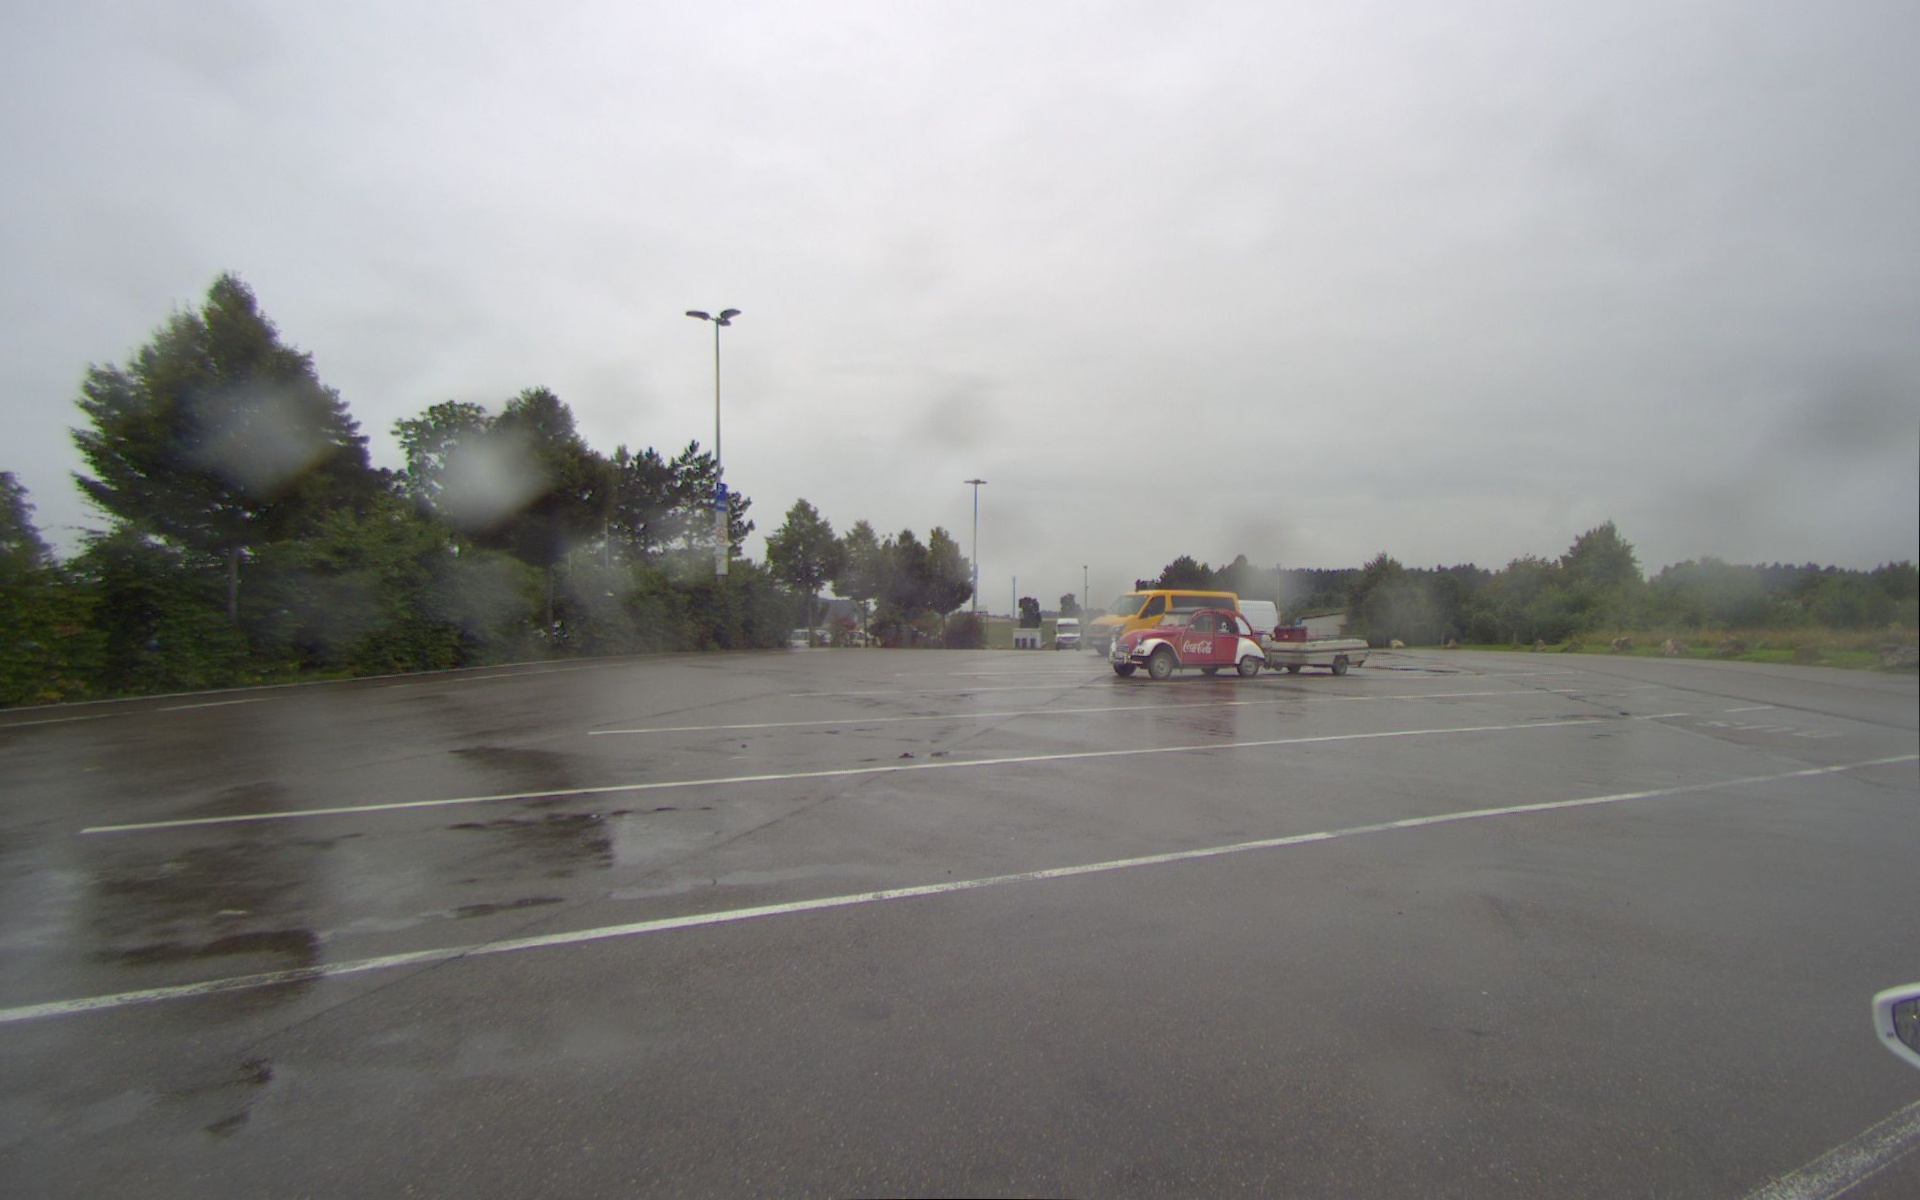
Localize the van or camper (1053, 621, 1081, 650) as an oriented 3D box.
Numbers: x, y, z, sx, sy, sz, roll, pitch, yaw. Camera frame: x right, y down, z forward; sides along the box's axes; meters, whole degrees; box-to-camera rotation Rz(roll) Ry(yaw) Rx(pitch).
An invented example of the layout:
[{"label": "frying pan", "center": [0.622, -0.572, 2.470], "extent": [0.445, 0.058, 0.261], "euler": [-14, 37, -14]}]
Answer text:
[{"label": "van or camper", "center": [8.358, 2.746, 78.516], "extent": [1.960, 2.195, 4.002], "euler": [0, -2, 3]}]

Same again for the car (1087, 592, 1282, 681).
[{"label": "car", "center": [4.919, 0.801, 21.983], "extent": [3.948, 1.800, 1.816], "euler": [1, -2, -27]}]

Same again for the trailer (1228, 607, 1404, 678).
[{"label": "trailer", "center": [8.430, 0.973, 23.781], "extent": [3.948, 1.553, 1.689], "euler": [1, -2, -27]}]

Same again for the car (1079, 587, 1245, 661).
[{"label": "car", "center": [7.164, 0.912, 35.370], "extent": [5.955, 2.411, 1.985], "euler": [2, -3, -30]}]
